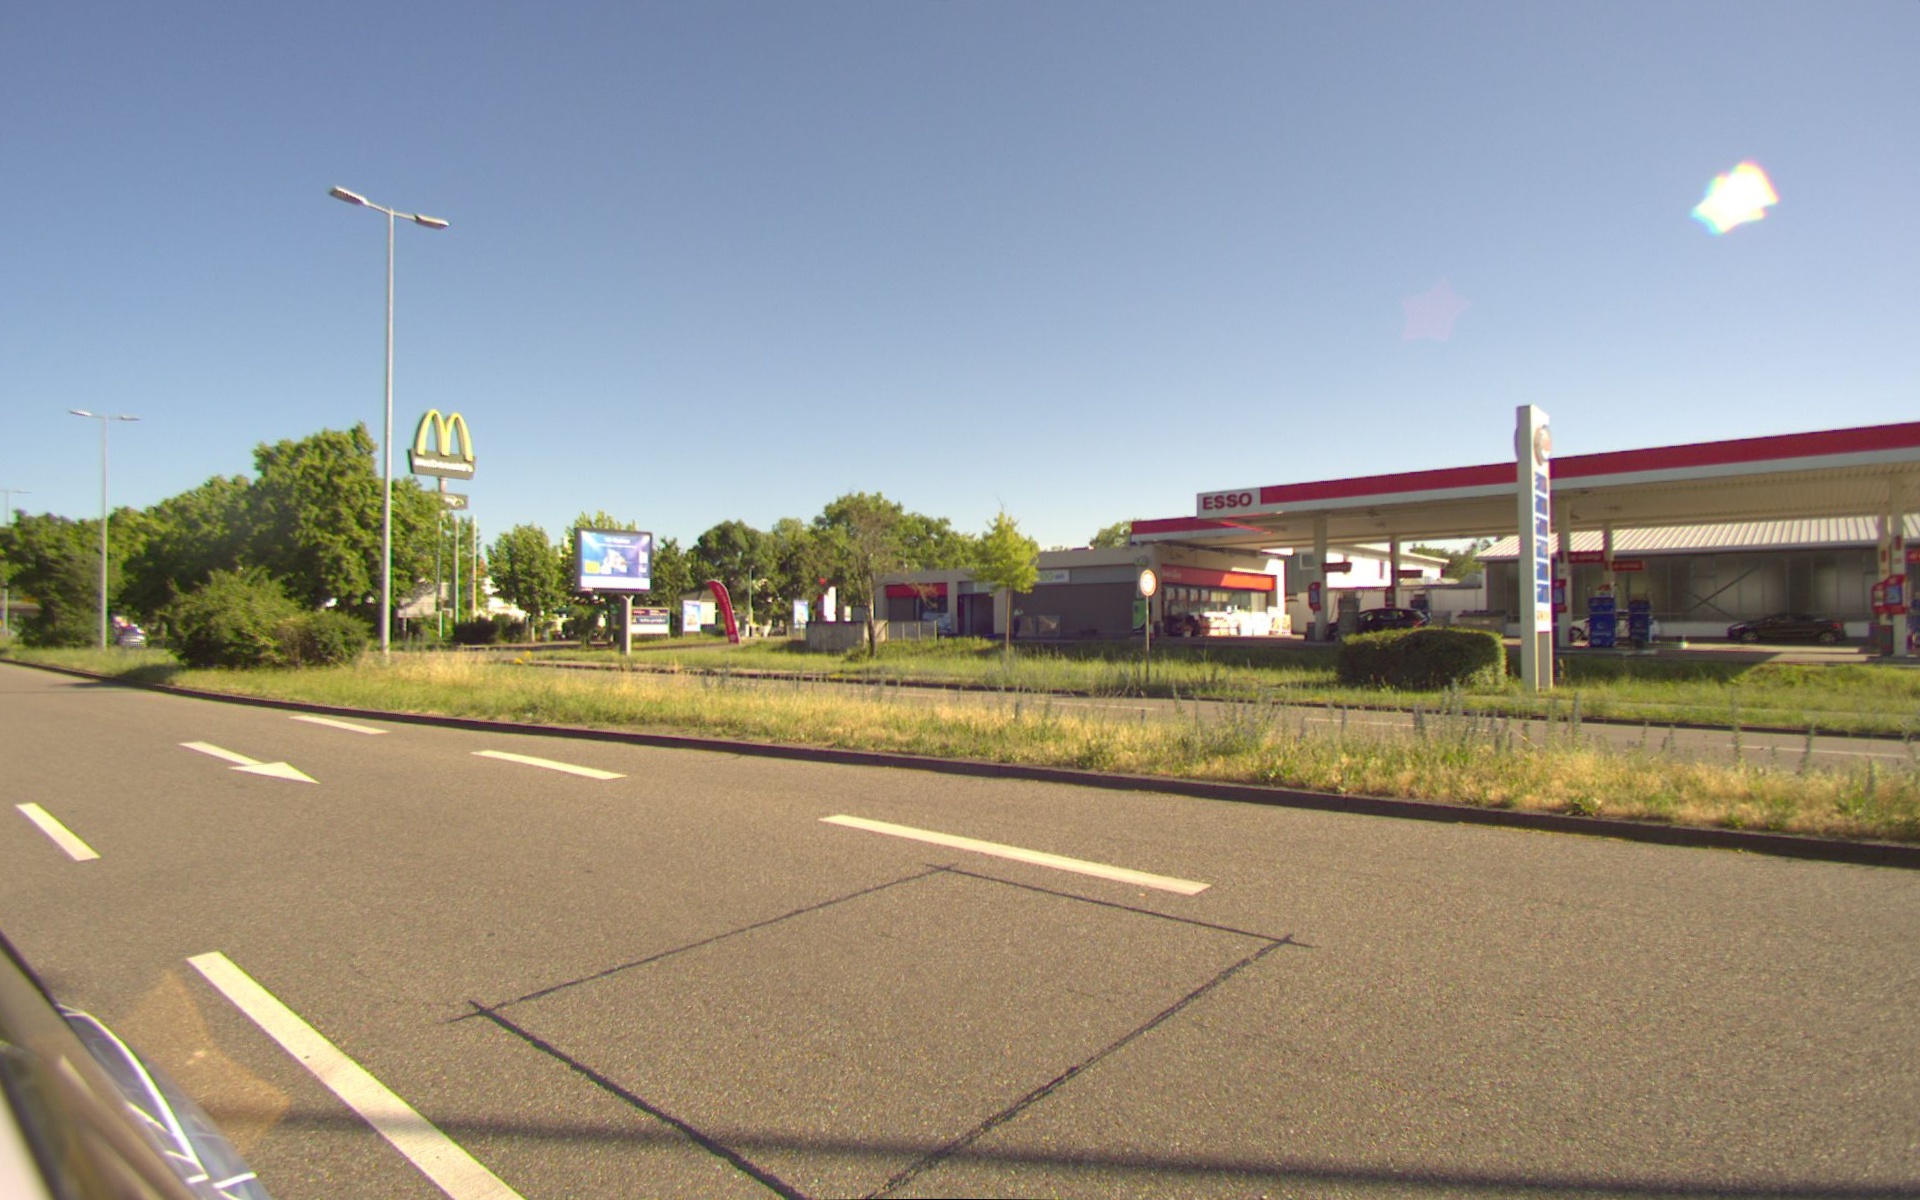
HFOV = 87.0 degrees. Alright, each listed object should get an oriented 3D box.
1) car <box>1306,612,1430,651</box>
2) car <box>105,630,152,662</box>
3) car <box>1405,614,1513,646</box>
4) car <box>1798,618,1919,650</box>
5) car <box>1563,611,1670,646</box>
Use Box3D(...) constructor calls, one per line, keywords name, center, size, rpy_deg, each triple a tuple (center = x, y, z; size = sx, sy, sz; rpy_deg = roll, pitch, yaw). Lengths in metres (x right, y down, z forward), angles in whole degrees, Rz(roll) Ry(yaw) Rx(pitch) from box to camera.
Box3D(name="car", center=(15.603, 1.199, 38.789), size=(3.998, 1.416, 1.973), rpy_deg=(-2, -2, 41))
Box3D(name="car", center=(-49.786, 2.723, 60.574), size=(3.705, 1.827, 1.628), rpy_deg=(-1, 0, 41))
Box3D(name="car", center=(25.171, 1.479, 51.149), size=(4.540, 1.477, 1.973), rpy_deg=(-1, 0, 41))
Box3D(name="car", center=(36.170, 1.335, 40.701), size=(3.730, 1.196, 1.657), rpy_deg=(-1, 0, 41))
Box3D(name="car", center=(29.954, 1.253, 46.231), size=(3.855, 1.500, 1.973), rpy_deg=(-1, 0, 41))
